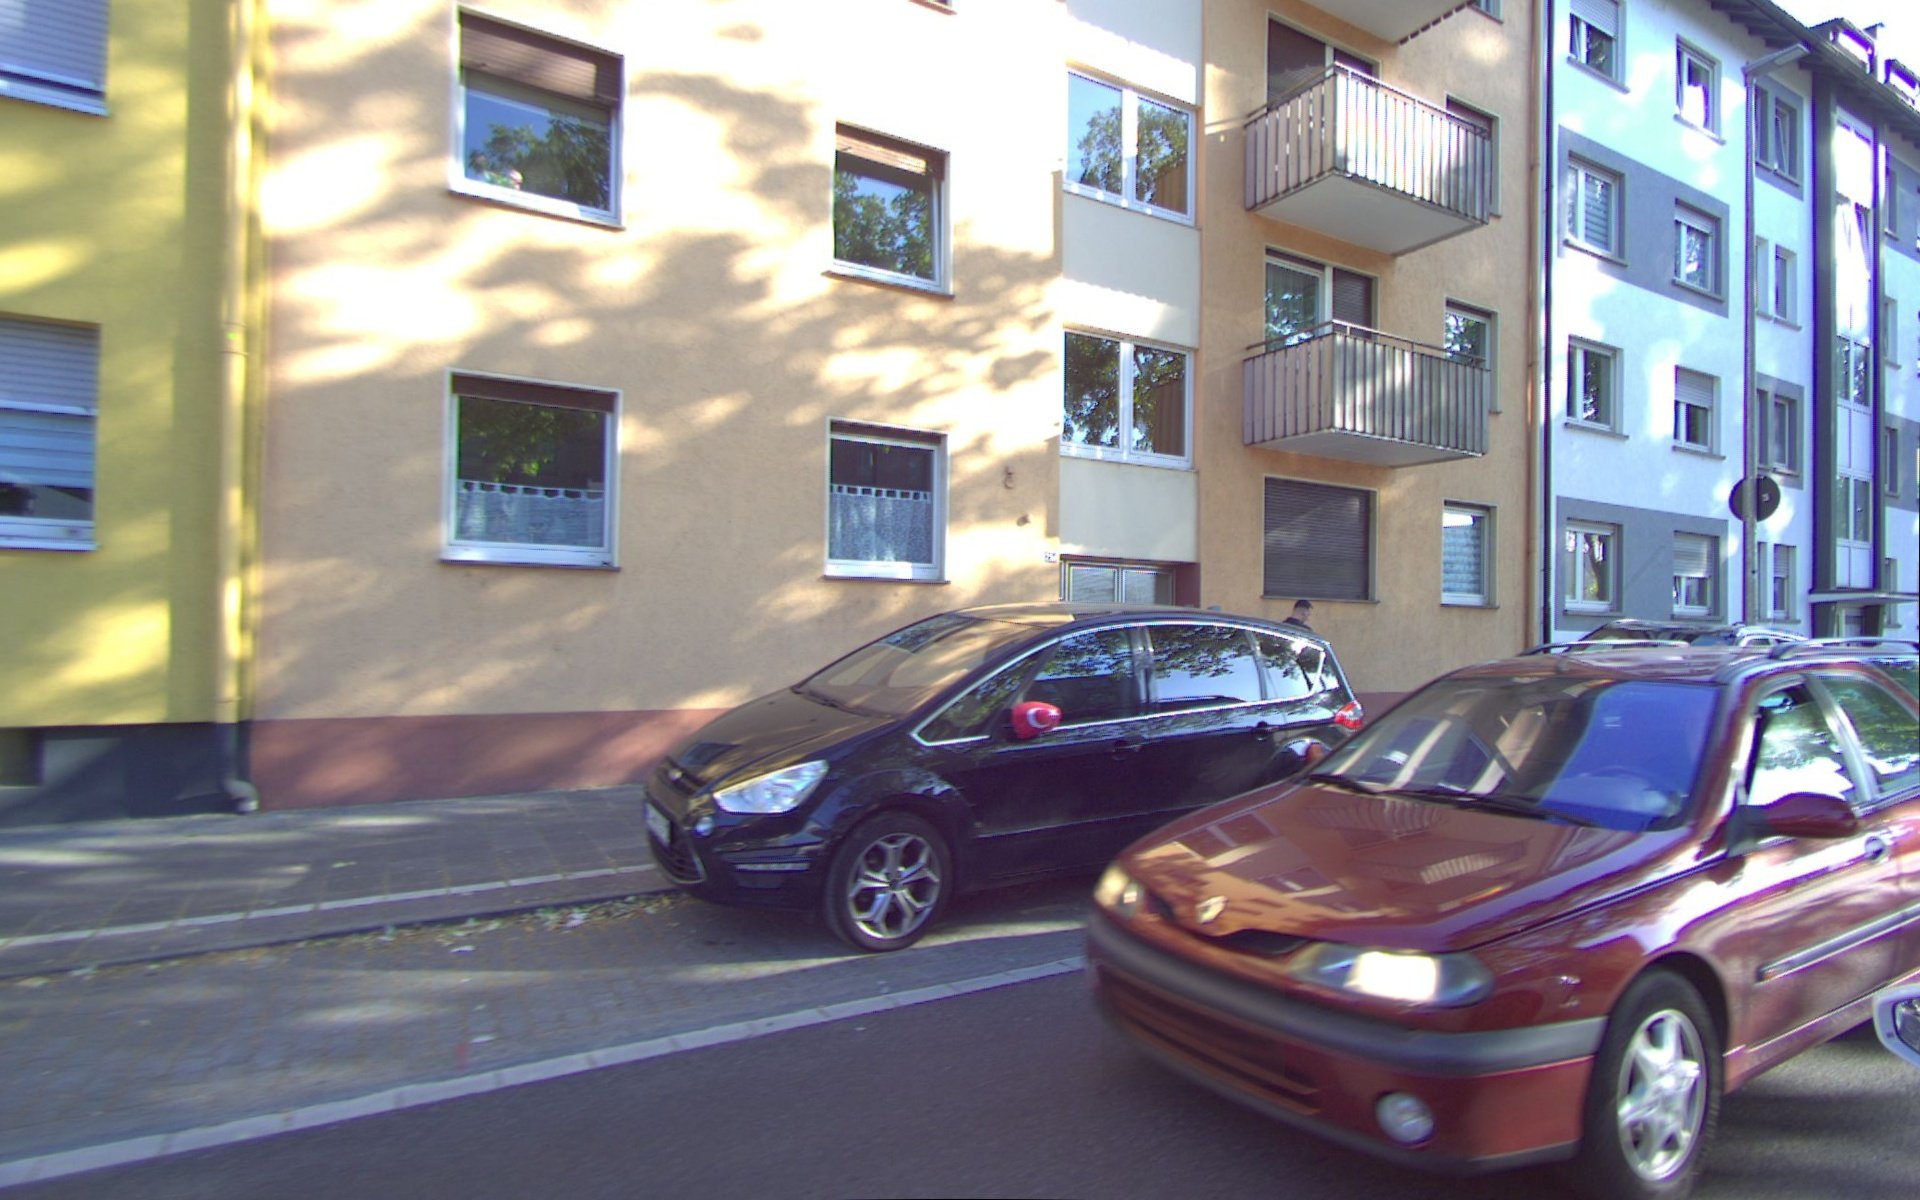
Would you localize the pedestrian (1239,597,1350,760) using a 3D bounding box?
[{"bbox_3d":[3.891,0.885,11.707,0.922,1.792,0.762,2,1,-30],"label":"pedestrian"}]

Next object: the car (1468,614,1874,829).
[{"bbox_3d":[6.985,1.027,9.746,4.362,1.663,1.588,2,0,-31],"label":"car"}]

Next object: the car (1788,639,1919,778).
[{"bbox_3d":[12.554,1.324,13.049,3.959,1.544,1.540,2,0,-31],"label":"car"}]

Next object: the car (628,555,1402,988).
[{"bbox_3d":[0.492,0.767,6.118,4.497,1.811,1.736,2,0,-31],"label":"car"}]

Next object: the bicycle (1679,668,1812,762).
[{"bbox_3d":[9.966,1.432,12.745,1.688,1.101,0.555,1,-2,-22],"label":"bicycle"}]

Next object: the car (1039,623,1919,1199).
[{"bbox_3d":[2.568,0.910,3.945,4.360,1.543,1.656,2,-3,-30],"label":"car"}]
